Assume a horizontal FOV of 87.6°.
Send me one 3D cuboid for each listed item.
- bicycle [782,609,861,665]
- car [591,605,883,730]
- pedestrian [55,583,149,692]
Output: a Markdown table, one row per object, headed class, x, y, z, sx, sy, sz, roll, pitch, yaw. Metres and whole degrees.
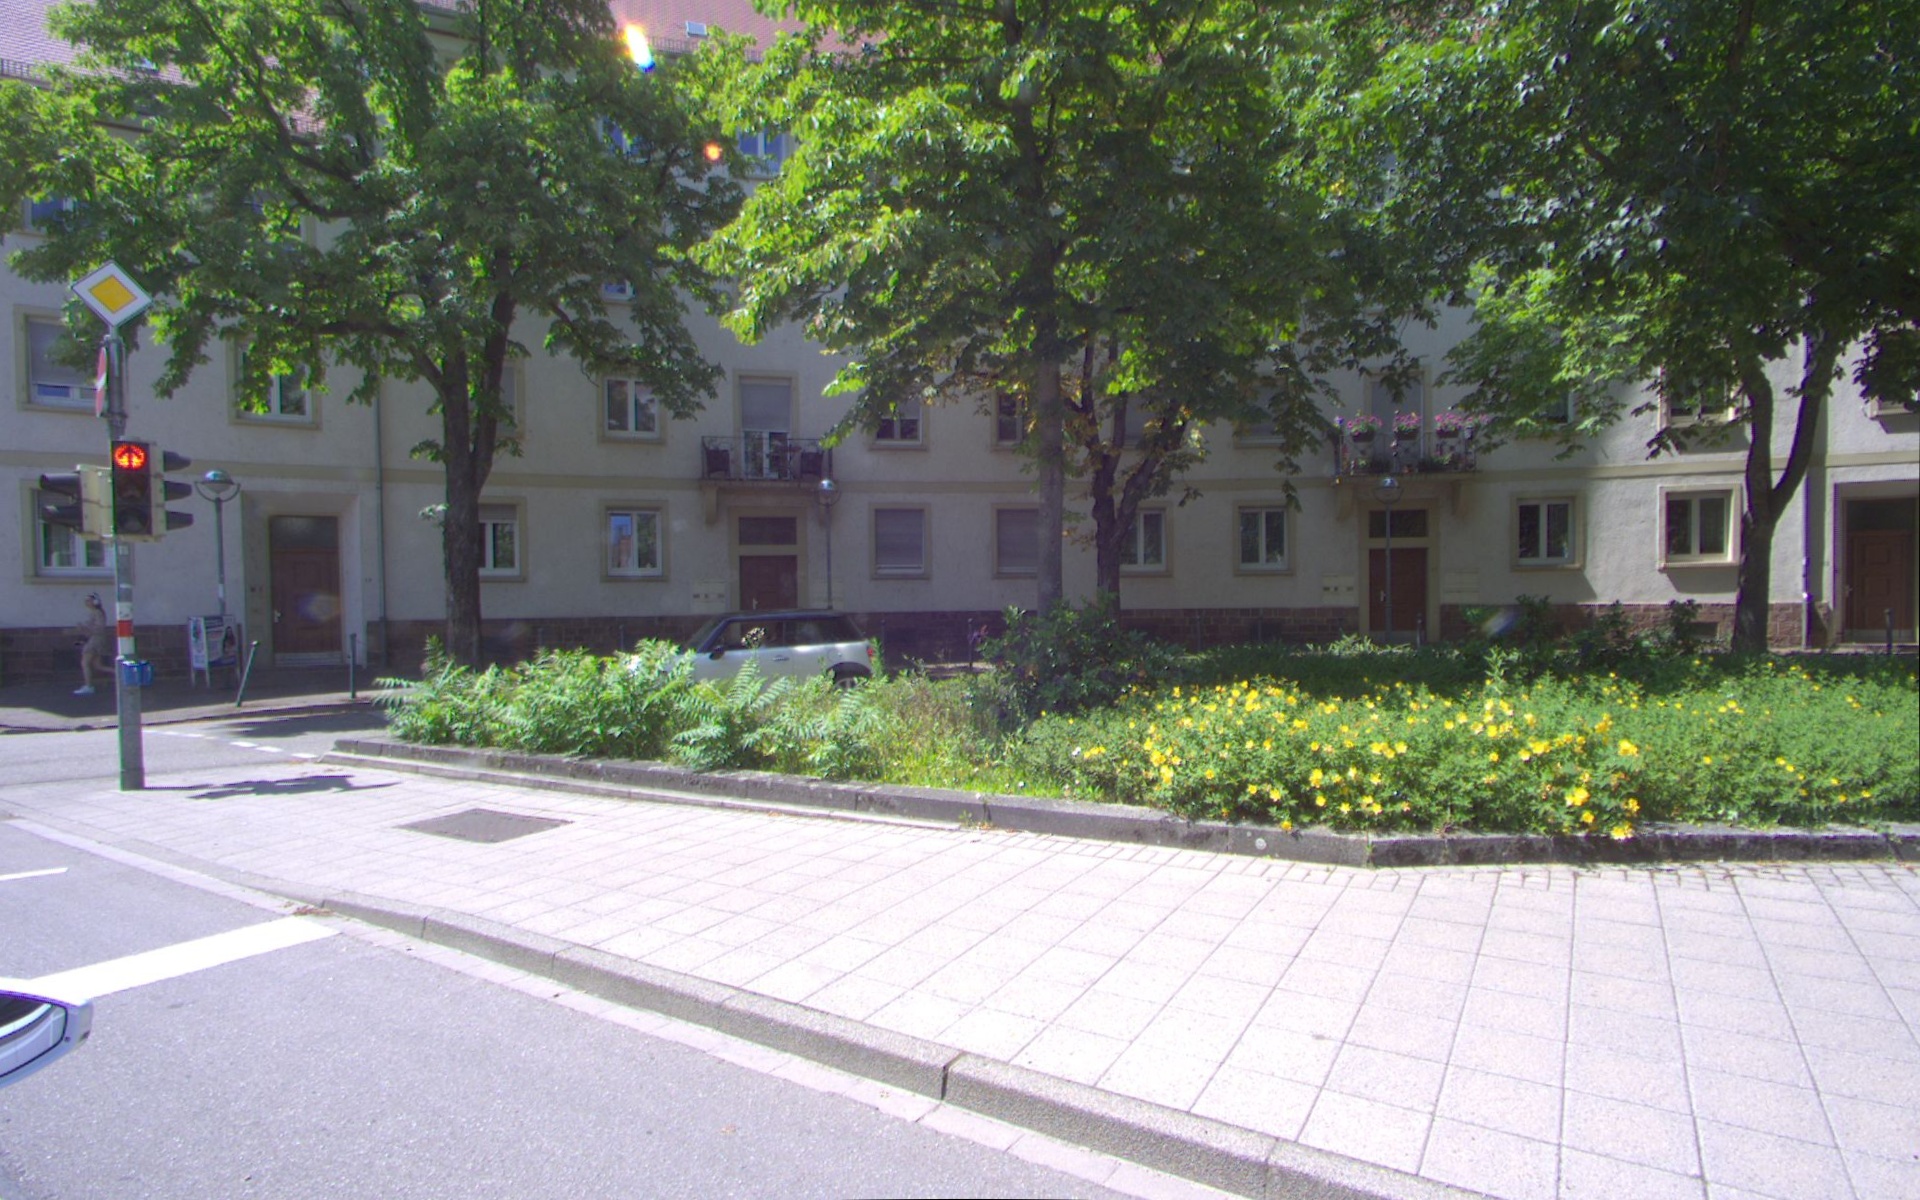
| class | x | y | z | sx | sy | sz | roll | pitch | yaw |
| --- | --- | --- | --- | --- | --- | --- | --- | --- | --- |
| bicycle | -2.879 | 0.758 | 20.869 | 1.575 | 1.119 | 0.525 | -1 | 1 | -3 |
| car | -2.931 | 0.845 | 13.454 | 3.584 | 1.526 | 1.703 | 0 | 0 | -12 |
| pedestrian | -14.561 | 0.615 | 17.030 | 1.044 | 1.715 | 0.648 | -6 | 8 | -37 |
